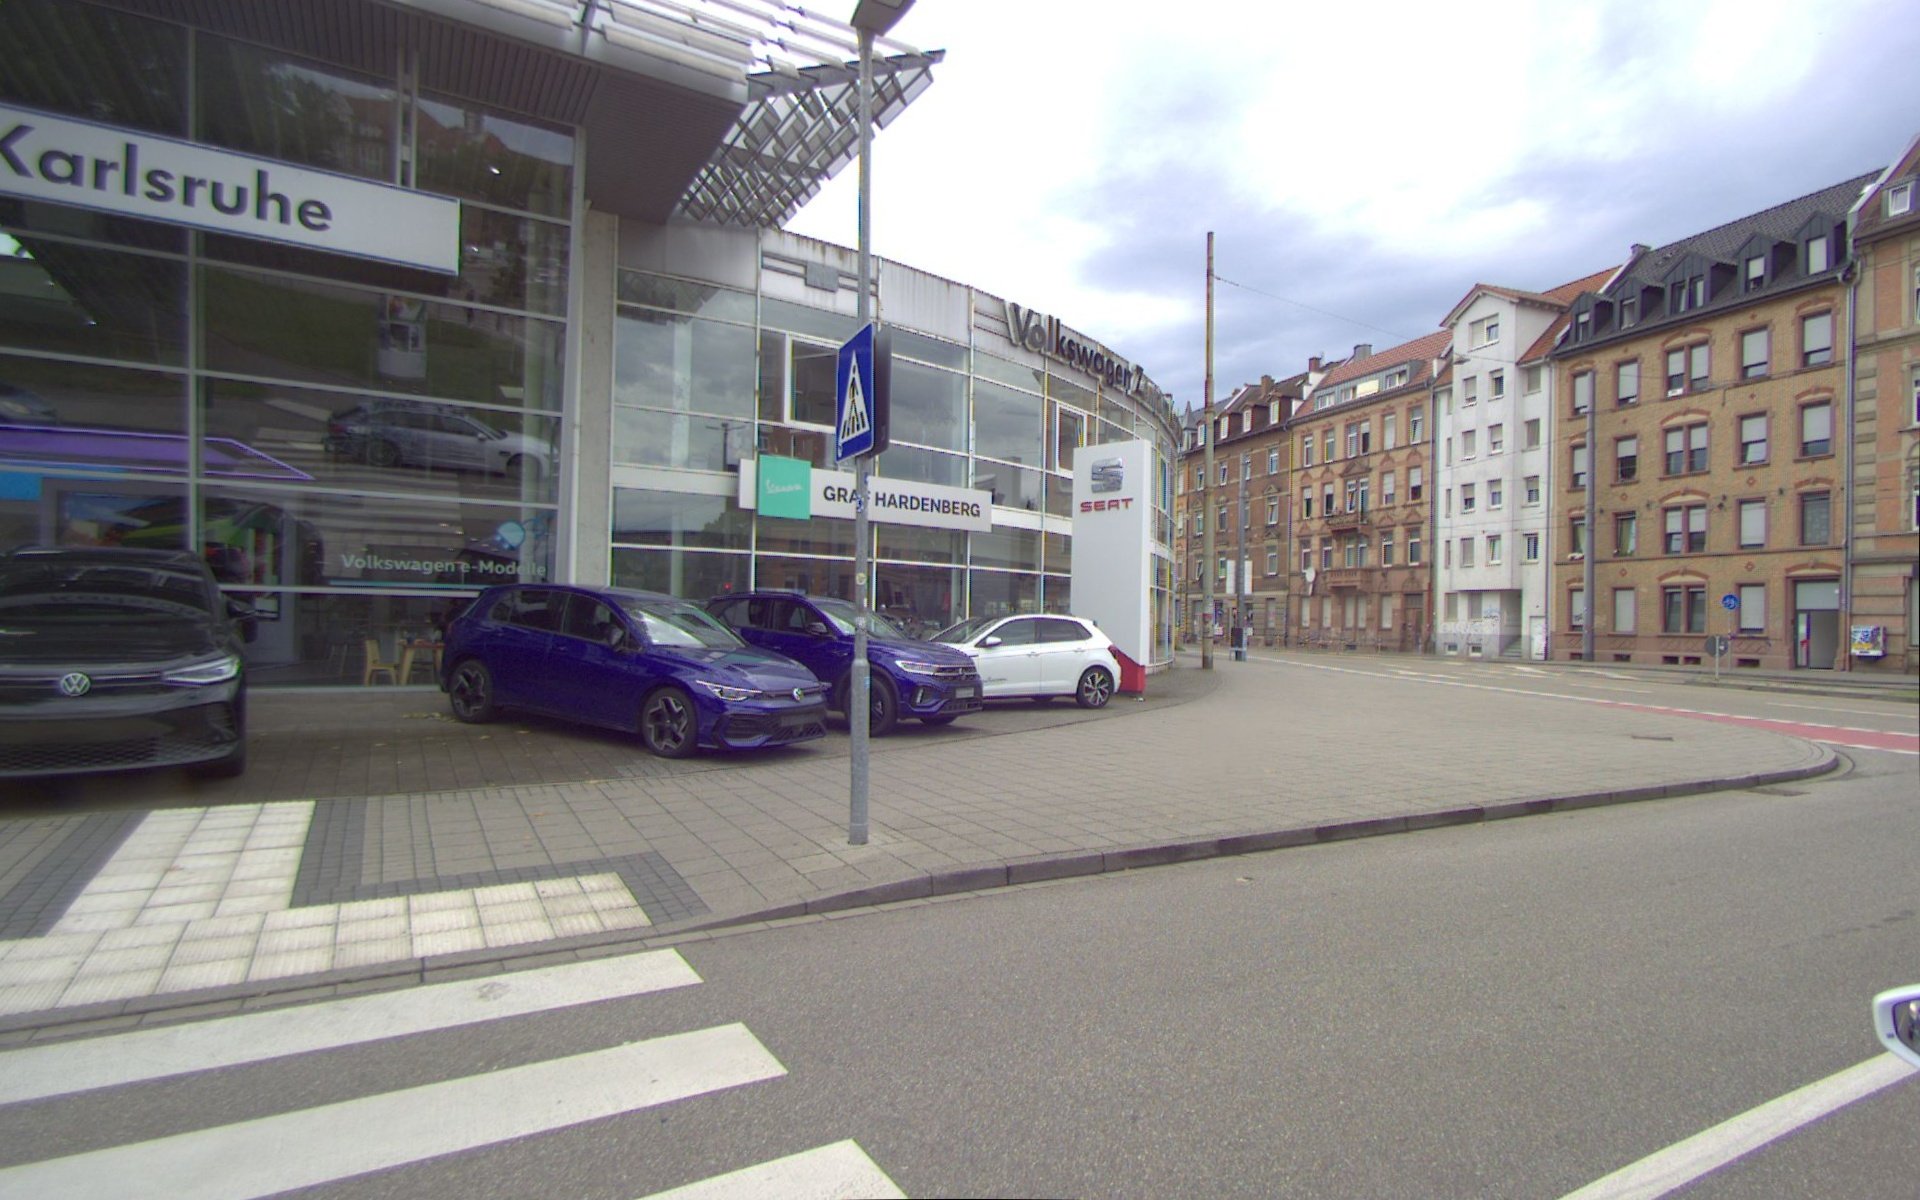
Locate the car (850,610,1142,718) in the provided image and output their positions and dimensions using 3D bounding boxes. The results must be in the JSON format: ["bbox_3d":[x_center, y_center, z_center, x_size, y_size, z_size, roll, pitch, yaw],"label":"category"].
[{"bbox_3d":[0.592,0.938,15.549,4.210,1.472,1.770,1,-2,-28],"label":"car"}]

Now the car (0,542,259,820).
[{"bbox_3d":[-6.845,0.407,8.136,1.843,1.654,4.463,0,3,-36],"label":"car"}]

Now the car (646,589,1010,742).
[{"bbox_3d":[-1.670,0.707,12.480,4.143,1.583,1.899,1,-1,28],"label":"car"}]

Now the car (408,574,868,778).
[{"bbox_3d":[-3.276,0.636,10.174,4.257,1.524,1.857,4,0,25],"label":"car"}]
